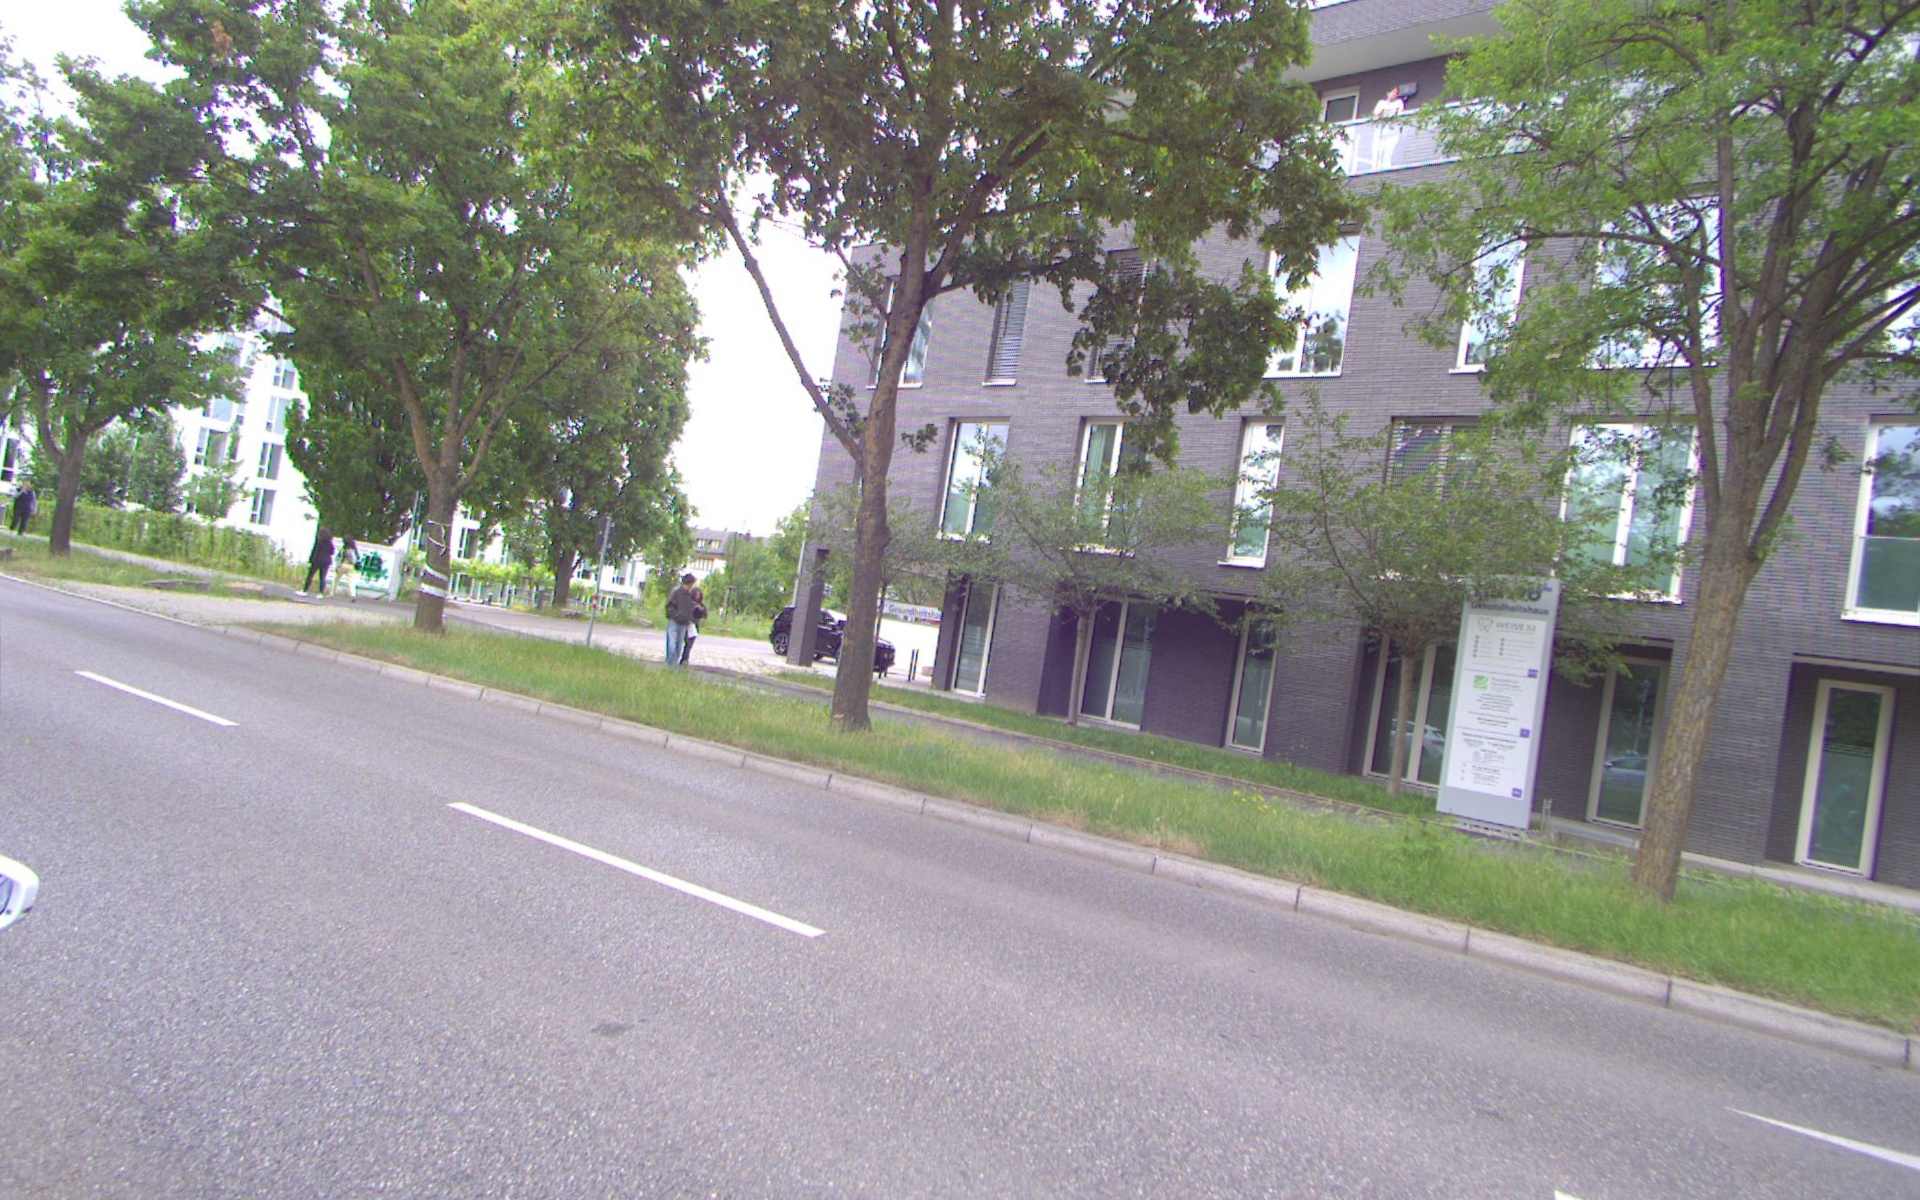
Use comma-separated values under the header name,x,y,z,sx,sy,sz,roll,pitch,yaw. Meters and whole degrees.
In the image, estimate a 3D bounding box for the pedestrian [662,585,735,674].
name,x,y,z,sx,sy,sz,roll,pitch,yaw
pedestrian,-5.074,0.583,19.537,0.862,1.575,0.833,7,-2,34

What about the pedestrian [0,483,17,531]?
name,x,y,z,sx,sy,sz,roll,pitch,yaw
pedestrian,-35.792,-3.499,37.365,0.868,1.705,0.768,6,-1,31

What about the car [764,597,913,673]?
name,x,y,z,sx,sy,sz,roll,pitch,yaw
car,-3.689,1.043,30.300,4.080,1.665,1.759,7,-2,32

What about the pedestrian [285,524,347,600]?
name,x,y,z,sx,sy,sz,roll,pitch,yaw
pedestrian,-15.656,-0.928,24.464,1.043,1.679,0.796,7,-1,38

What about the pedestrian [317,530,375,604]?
name,x,y,z,sx,sy,sz,roll,pitch,yaw
pedestrian,-15.386,-0.823,25.219,0.937,1.679,0.779,7,-1,38

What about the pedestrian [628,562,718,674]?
name,x,y,z,sx,sy,sz,roll,pitch,yaw
pedestrian,-5.273,0.333,18.509,0.963,1.889,0.961,7,-2,34

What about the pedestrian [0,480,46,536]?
name,x,y,z,sx,sy,sz,roll,pitch,yaw
pedestrian,-29.100,-2.858,31.257,0.663,1.592,0.743,6,-1,31
